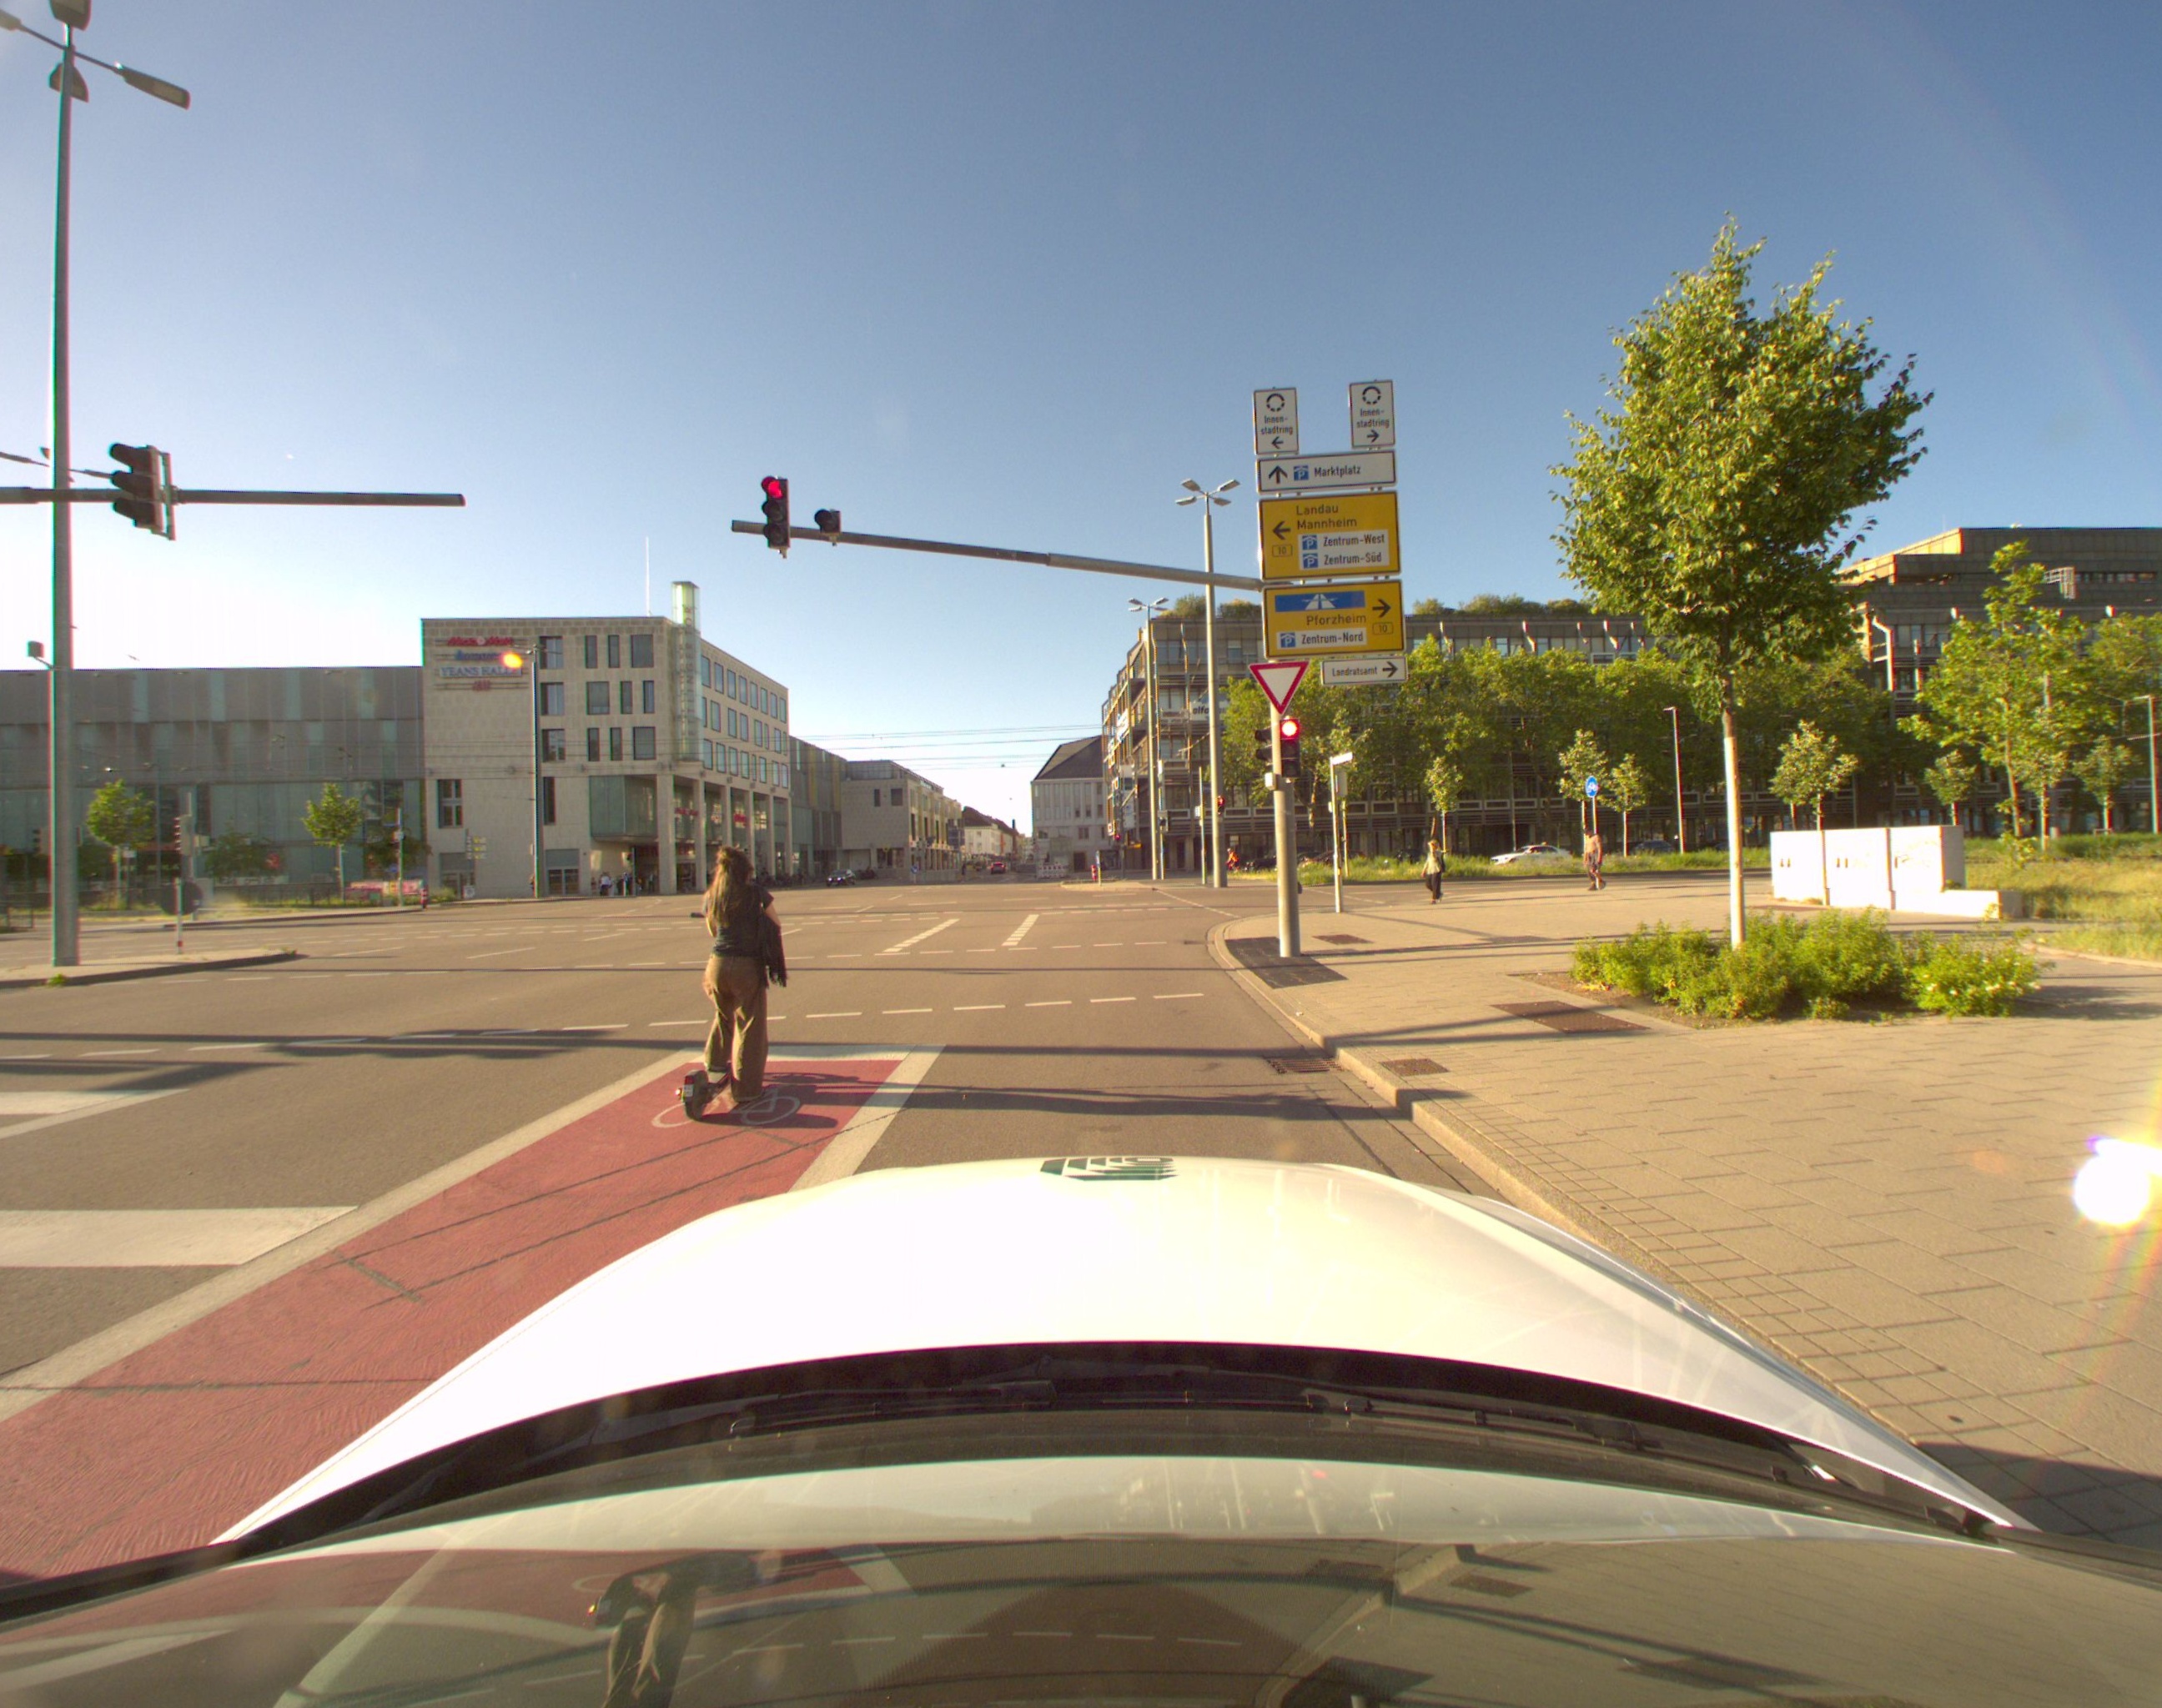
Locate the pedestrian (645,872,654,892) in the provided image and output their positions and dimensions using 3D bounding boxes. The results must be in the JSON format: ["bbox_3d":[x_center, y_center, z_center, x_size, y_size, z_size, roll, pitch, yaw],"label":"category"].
[{"bbox_3d":[-34.759,2.220,65.631,0.428,1.585,0.498,-2,0,-3],"label":"pedestrian"}]

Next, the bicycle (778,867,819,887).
[{"bbox_3d":[-27.047,2.210,78.070,3.491,1.696,0.984,-2,0,-10],"label":"bicycle"}]

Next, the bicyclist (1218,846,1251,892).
[{"bbox_3d":[8.881,0.852,47.072,1.566,2.580,0.929,-2,0,-7],"label":"bicyclist"}]

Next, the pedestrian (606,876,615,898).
[{"bbox_3d":[-34.095,2.372,59.008,0.421,1.527,0.456,-2,0,-6],"label":"pedestrian"}]

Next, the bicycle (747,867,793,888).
[{"bbox_3d":[-26.911,2.047,70.453,3.488,1.696,1.114,-2,0,-7],"label":"bicycle"}]

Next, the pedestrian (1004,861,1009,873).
[{"bbox_3d":[-9.285,1.645,101.895,0.608,1.411,0.569,-2,0,-5],"label":"pedestrian"}]

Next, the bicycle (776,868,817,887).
[{"bbox_3d":[-26.859,2.199,76.861,3.491,1.696,0.984,-2,0,-10],"label":"bicycle"}]

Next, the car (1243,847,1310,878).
[{"bbox_3d":[12.836,0.557,53.624,3.975,2.014,1.999,0,-1,-1],"label":"car"}]

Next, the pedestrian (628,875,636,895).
[{"bbox_3d":[-32.843,2.275,59.552,0.386,1.426,0.500,-2,0,-13],"label":"pedestrian"}]

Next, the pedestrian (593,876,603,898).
[{"bbox_3d":[-34.771,2.396,58.644,0.420,1.565,0.457,-2,0,2],"label":"pedestrian"}]

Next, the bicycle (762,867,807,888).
[{"bbox_3d":[-26.147,2.069,71.958,3.488,1.696,1.114,-2,0,-7],"label":"bicycle"}]

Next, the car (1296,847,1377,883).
[{"bbox_3d":[14.448,0.616,46.210,3.975,2.014,1.999,0,-1,-1],"label":"car"}]

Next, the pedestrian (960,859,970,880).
[{"bbox_3d":[-9.248,1.217,65.037,0.661,1.658,0.755,-2,0,-1],"label":"pedestrian"}]

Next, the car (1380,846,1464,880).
[{"bbox_3d":[21.401,0.558,51.247,4.435,2.014,1.998,0,-1,-4],"label":"car"}]

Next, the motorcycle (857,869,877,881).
[{"bbox_3d":[-25.970,2.536,98.869,2.269,1.318,0.719,-2,0,-4],"label":"motorcycle"}]

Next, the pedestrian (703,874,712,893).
[{"bbox_3d":[-32.543,2.580,70.989,0.480,1.585,0.513,-2,0,-3],"label":"pedestrian"}]

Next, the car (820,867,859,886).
[{"bbox_3d":[-20.781,1.886,70.273,1.986,1.486,4.002,-2,0,2],"label":"car"}]

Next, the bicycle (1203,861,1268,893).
[{"bbox_3d":[8.922,1.312,47.068,3.488,1.659,0.929,-2,0,-7],"label":"bicycle"}]

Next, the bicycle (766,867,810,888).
[{"bbox_3d":[-26.323,2.115,73.178,3.488,1.696,1.114,-2,0,-7],"label":"bicycle"}]

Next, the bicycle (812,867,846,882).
[{"bbox_3d":[-27.933,2.250,90.359,3.491,1.527,0.984,-2,0,-10],"label":"bicycle"}]

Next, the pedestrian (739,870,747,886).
[{"bbox_3d":[-33.000,2.324,79.461,0.480,1.510,0.513,-2,0,-3],"label":"pedestrian"}]

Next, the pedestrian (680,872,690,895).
[{"bbox_3d":[-28.773,2.140,59.226,0.542,1.642,0.546,-2,0,-21],"label":"pedestrian"}]

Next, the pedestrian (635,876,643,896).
[{"bbox_3d":[-32.409,2.322,59.714,0.387,1.412,0.436,-2,0,-14],"label":"pedestrian"}]

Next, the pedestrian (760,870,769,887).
[{"bbox_3d":[-30.101,2.332,77.433,0.652,1.642,0.693,-2,0,-7],"label":"pedestrian"}]

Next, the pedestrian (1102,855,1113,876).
[{"bbox_3d":[2.094,0.888,64.956,0.728,1.658,0.649,-2,0,-5],"label":"pedestrian"}]

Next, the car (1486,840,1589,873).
[{"bbox_3d":[28.889,0.140,51.654,5.424,2.014,2.097,0,-1,-1],"label":"car"}]

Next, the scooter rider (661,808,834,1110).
[{"bbox_3d":[-2.100,0.621,5.235,0.726,1.775,0.811,-1,0,1],"label":"scooter rider"}]

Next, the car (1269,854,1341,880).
[{"bbox_3d":[13.848,0.779,50.476,3.976,1.508,1.867,-1,0,-2],"label":"car"}]

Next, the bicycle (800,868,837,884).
[{"bbox_3d":[-27.551,2.291,85.585,3.491,1.527,0.984,-2,0,-10],"label":"bicycle"}]

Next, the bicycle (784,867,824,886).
[{"bbox_3d":[-27.251,2.234,80.166,3.491,1.696,0.984,-2,0,-10],"label":"bicycle"}]

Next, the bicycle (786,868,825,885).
[{"bbox_3d":[-27.413,2.226,81.163,3.491,1.527,0.984,-2,0,-10],"label":"bicycle"}]

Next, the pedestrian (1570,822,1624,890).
[{"bbox_3d":[13.671,0.056,21.596,0.694,1.728,0.939,-2,0,-12],"label":"pedestrian"}]

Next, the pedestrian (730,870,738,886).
[{"bbox_3d":[-33.757,2.328,79.252,0.480,1.510,0.513,-2,0,-3],"label":"pedestrian"}]

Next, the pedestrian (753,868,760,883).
[{"bbox_3d":[-33.059,2.211,82.991,0.480,1.510,0.513,-2,0,-3],"label":"pedestrian"}]

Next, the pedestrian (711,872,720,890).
[{"bbox_3d":[-32.224,2.372,71.754,0.480,1.510,0.513,-2,0,-3],"label":"pedestrian"}]

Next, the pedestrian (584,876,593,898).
[{"bbox_3d":[-35.247,2.351,58.280,0.421,1.501,0.456,-2,0,-9],"label":"pedestrian"}]

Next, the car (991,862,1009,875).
[{"bbox_3d":[-10.793,1.883,108.863,2.195,1.607,4.320,-2,0,-4],"label":"car"}]

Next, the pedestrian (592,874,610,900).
[{"bbox_3d":[-33.881,2.335,57.474,0.755,1.798,0.736,-2,0,-3],"label":"pedestrian"}]

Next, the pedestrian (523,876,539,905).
[{"bbox_3d":[-32.347,2.151,47.897,0.523,1.694,0.548,-2,0,4],"label":"pedestrian"}]

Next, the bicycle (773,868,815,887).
[{"bbox_3d":[-26.683,2.180,75.765,3.491,1.696,0.984,-2,0,-10],"label":"bicycle"}]

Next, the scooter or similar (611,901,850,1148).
[{"bbox_3d":[-2.097,0.953,5.152,0.725,1.202,1.665,-1,0,2],"label":"scooter or similar"}]

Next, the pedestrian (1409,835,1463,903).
[{"bbox_3d":[8.855,0.375,20.353,0.801,1.630,0.939,-2,0,-12],"label":"pedestrian"}]

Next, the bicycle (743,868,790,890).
[{"bbox_3d":[-26.735,2.096,69.297,3.488,1.696,1.114,-2,0,-7],"label":"bicycle"}]
